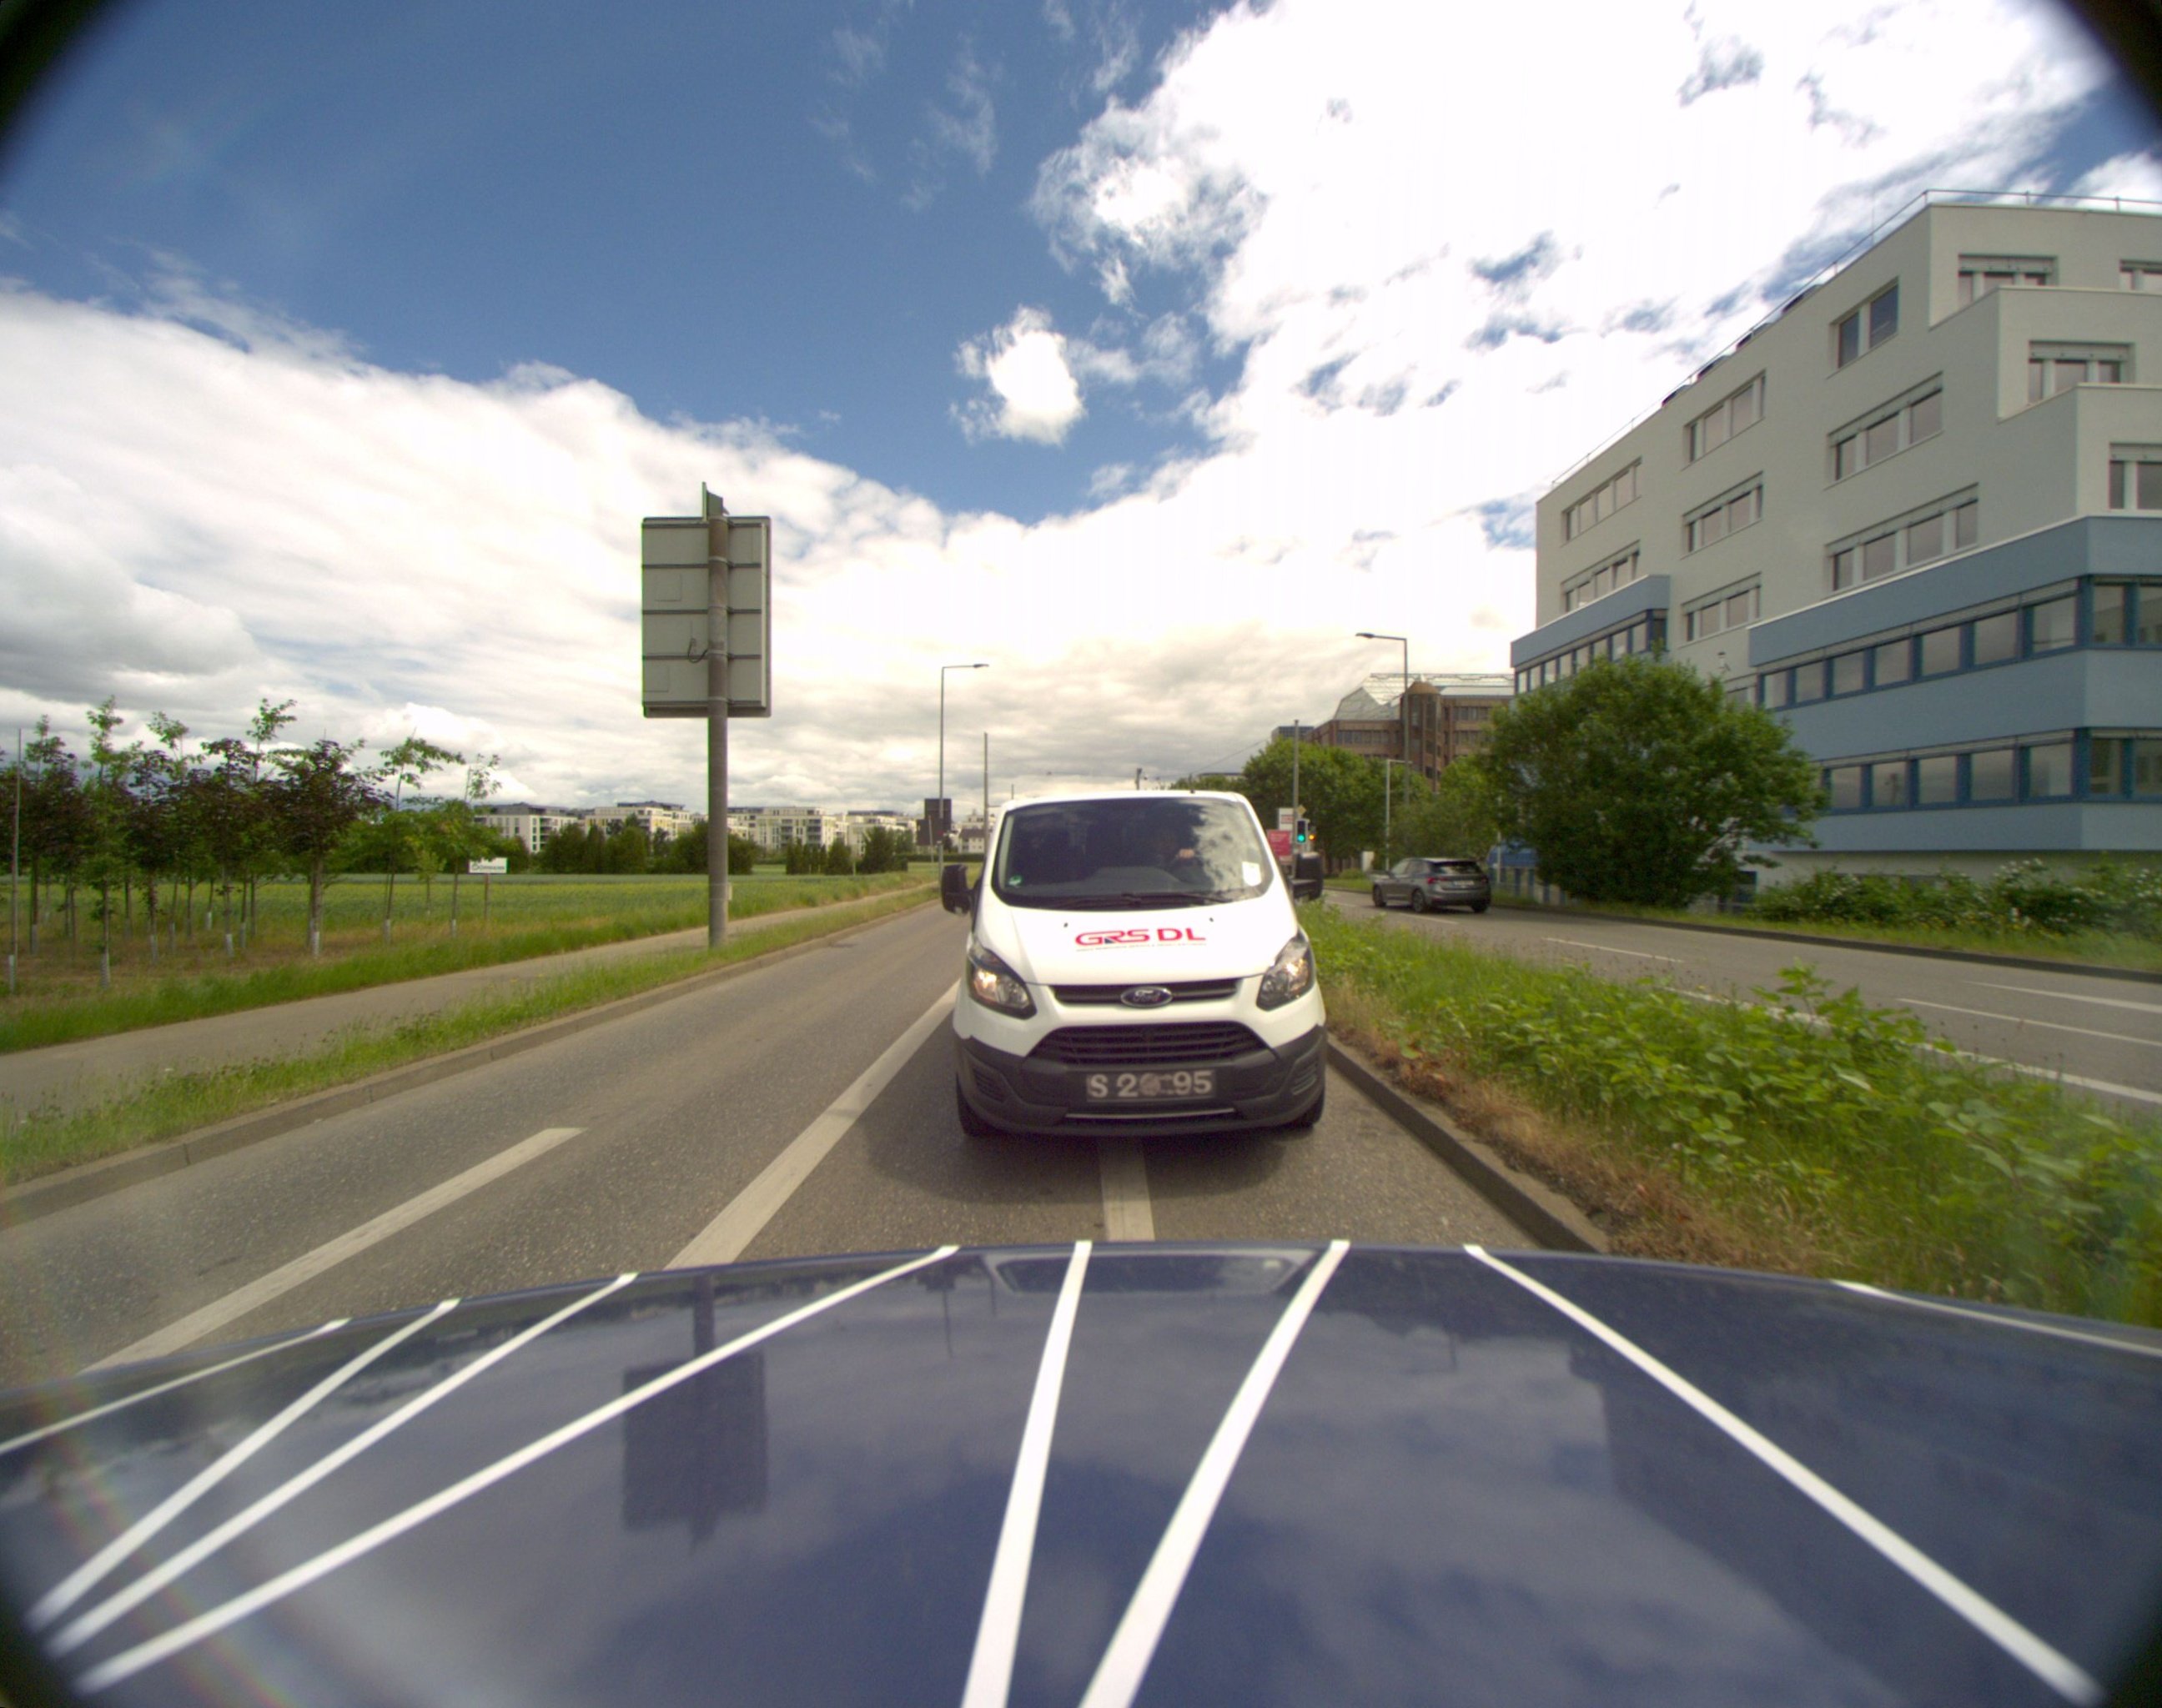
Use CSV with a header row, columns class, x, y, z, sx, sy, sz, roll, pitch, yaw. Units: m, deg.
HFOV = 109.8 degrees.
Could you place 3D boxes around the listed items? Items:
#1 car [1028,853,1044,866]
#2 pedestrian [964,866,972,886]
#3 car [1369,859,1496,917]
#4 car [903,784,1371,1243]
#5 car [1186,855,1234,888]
class,x,y,z,sx,sy,sz,roll,pitch,yaw
car,-5.252,0.584,88.710,1.683,1.410,3.739,-1,1,-1
pedestrian,-9.731,1.855,65.295,0.492,1.693,0.626,-2,1,-1
car,9.248,0.830,20.304,1.558,1.375,3.779,-1,0,-1
car,0.277,0.692,5.807,1.968,1.938,5.055,-2,0,1
car,6.005,0.780,35.758,1.693,1.422,3.635,-1,0,1
